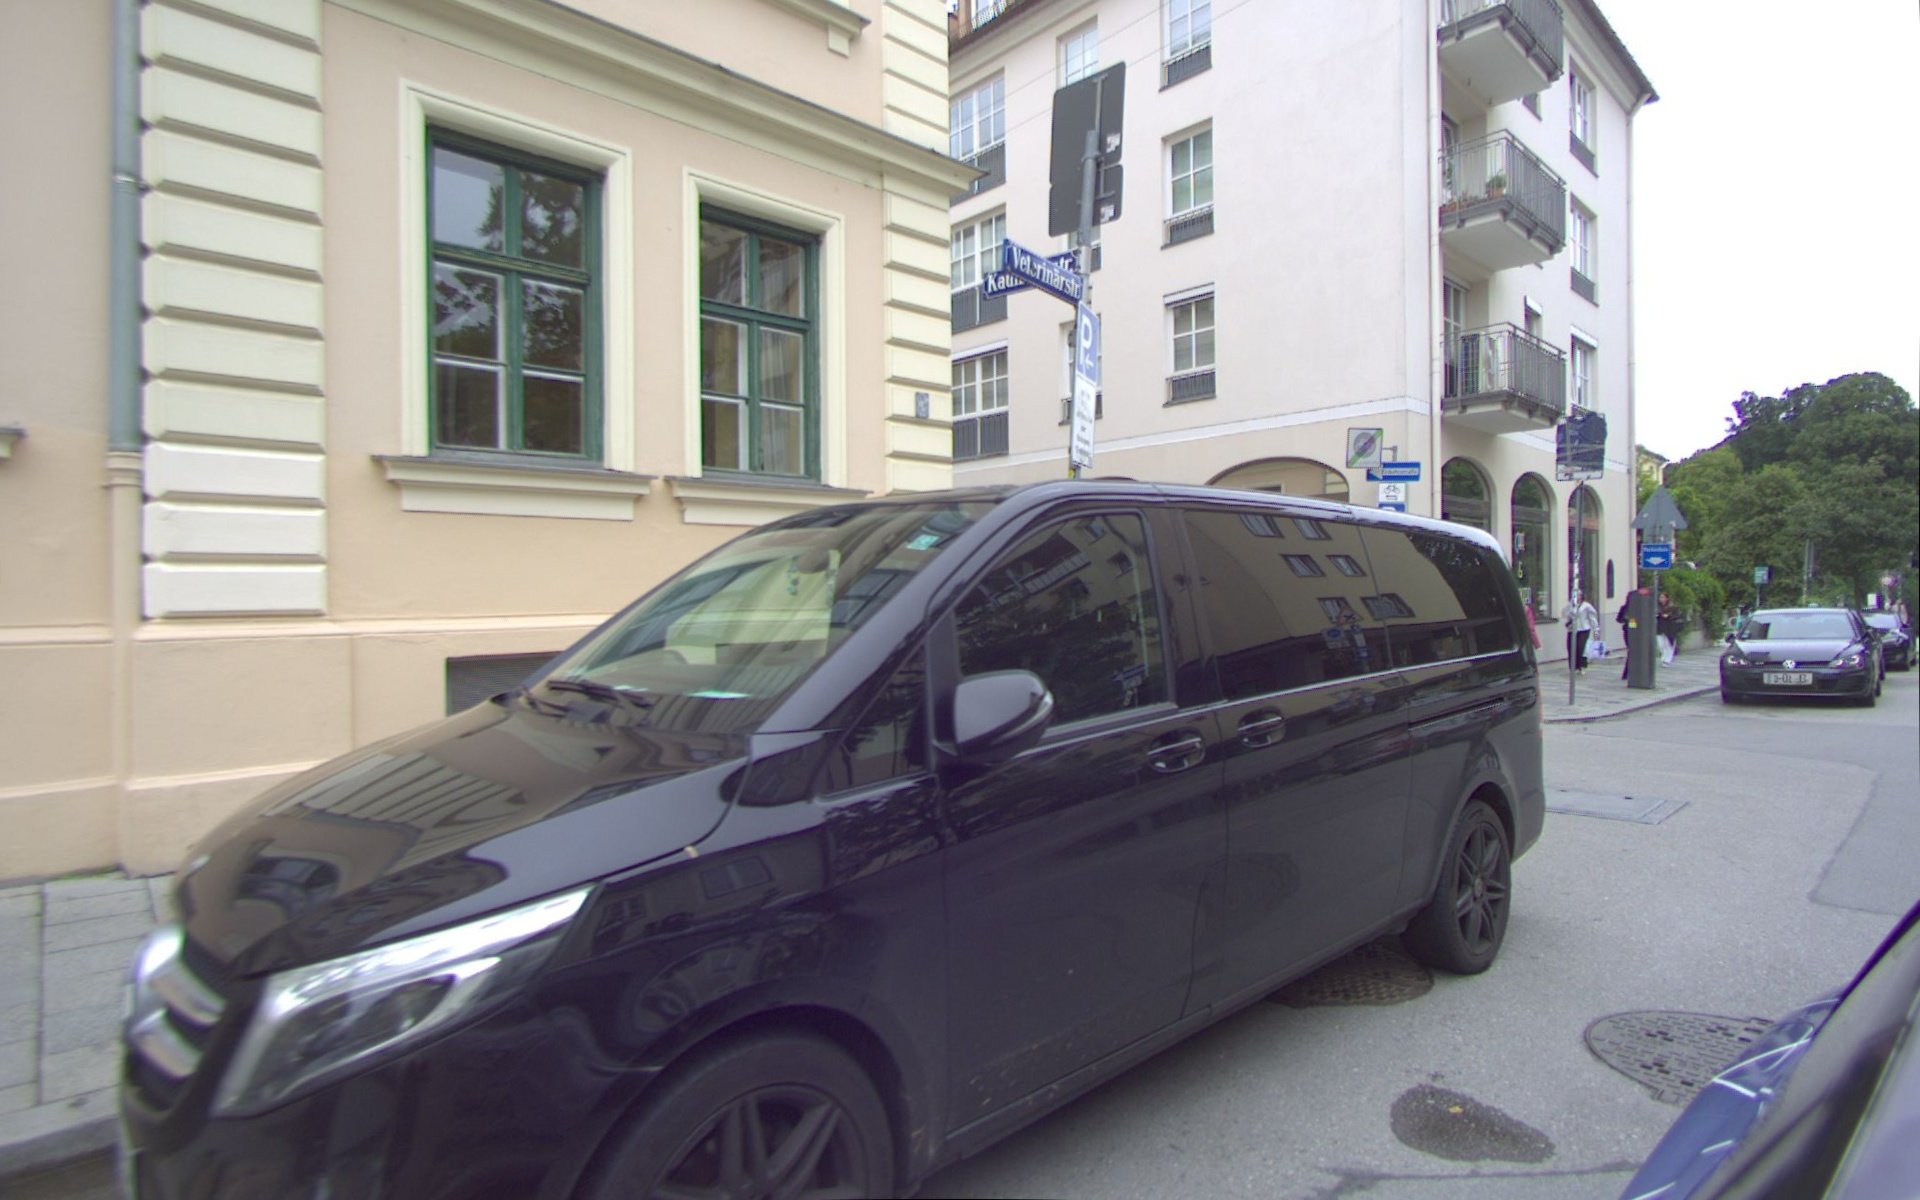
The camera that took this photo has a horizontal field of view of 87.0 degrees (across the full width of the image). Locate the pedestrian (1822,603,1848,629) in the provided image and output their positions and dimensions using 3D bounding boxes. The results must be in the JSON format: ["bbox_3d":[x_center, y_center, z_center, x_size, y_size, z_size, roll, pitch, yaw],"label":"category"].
[{"bbox_3d":[42.873,0.770,49.587,0.882,1.251,0.543,-1,-4,37],"label":"pedestrian"}]

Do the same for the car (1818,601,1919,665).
[{"bbox_3d":[22.405,0.750,24.626,4.578,1.429,1.804,0,-1,-43],"label":"car"}]

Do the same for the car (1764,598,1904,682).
[{"bbox_3d":[16.999,0.731,19.607,4.435,1.443,1.646,0,-3,-45],"label":"car"}]

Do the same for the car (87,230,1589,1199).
[{"bbox_3d":[0.273,0.508,3.640,5.162,1.888,2.000,0,0,-42],"label":"car"}]

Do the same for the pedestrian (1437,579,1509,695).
[{"bbox_3d":[7.591,0.513,14.968,0.963,1.640,0.659,-2,1,-44],"label":"pedestrian"}]

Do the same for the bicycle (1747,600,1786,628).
[{"bbox_3d":[37.141,0.630,46.596,1.622,1.213,0.169,3,0,-1],"label":"bicycle"}]

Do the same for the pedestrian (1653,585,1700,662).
[{"bbox_3d":[15.917,0.500,22.465,0.866,1.642,0.705,-2,1,-44],"label":"pedestrian"}]

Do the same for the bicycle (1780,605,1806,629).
[{"bbox_3d":[38.960,0.790,47.315,1.620,1.051,0.308,3,0,-29],"label":"bicycle"}]

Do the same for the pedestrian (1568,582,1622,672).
[{"bbox_3d":[12.295,0.506,19.584,0.866,1.682,0.705,-2,1,-44],"label":"pedestrian"}]

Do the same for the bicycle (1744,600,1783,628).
[{"bbox_3d":[37.148,0.636,46.795,1.622,1.206,0.203,3,0,-1],"label":"bicycle"}]

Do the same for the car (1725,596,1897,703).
[{"bbox_3d":[13.301,0.711,15.726,1.675,1.443,4.135,-3,-3,45],"label":"car"}]

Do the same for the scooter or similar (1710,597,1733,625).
[{"bbox_3d":[34.822,0.519,46.266,1.363,1.264,0.397,2,-1,-34],"label":"scooter or similar"}]

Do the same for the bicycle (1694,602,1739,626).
[{"bbox_3d":[35.218,0.644,47.147,1.636,1.006,0.246,3,0,24],"label":"bicycle"}]

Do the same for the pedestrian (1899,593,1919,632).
[{"bbox_3d":[42.757,0.569,45.531,0.958,1.709,0.652,4,-4,-42],"label":"pedestrian"}]

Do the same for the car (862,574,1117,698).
[{"bbox_3d":[0.414,0.591,18.144,1.942,1.941,4.443,4,-2,-44],"label":"car"}]

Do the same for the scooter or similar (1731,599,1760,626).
[{"bbox_3d":[35.486,0.554,45.732,0.317,1.228,1.119,1,0,-6],"label":"scooter or similar"}]

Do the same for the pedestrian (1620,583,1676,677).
[{"bbox_3d":[12.890,0.536,18.960,0.866,1.682,0.705,-2,1,-44],"label":"pedestrian"}]

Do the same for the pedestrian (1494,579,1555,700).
[{"bbox_3d":[8.072,0.530,14.456,1.052,1.645,0.472,-2,1,-44],"label":"pedestrian"}]

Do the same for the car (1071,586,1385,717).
[{"bbox_3d":[3.738,0.639,14.628,1.726,1.626,4.091,2,-1,-44],"label":"car"}]
